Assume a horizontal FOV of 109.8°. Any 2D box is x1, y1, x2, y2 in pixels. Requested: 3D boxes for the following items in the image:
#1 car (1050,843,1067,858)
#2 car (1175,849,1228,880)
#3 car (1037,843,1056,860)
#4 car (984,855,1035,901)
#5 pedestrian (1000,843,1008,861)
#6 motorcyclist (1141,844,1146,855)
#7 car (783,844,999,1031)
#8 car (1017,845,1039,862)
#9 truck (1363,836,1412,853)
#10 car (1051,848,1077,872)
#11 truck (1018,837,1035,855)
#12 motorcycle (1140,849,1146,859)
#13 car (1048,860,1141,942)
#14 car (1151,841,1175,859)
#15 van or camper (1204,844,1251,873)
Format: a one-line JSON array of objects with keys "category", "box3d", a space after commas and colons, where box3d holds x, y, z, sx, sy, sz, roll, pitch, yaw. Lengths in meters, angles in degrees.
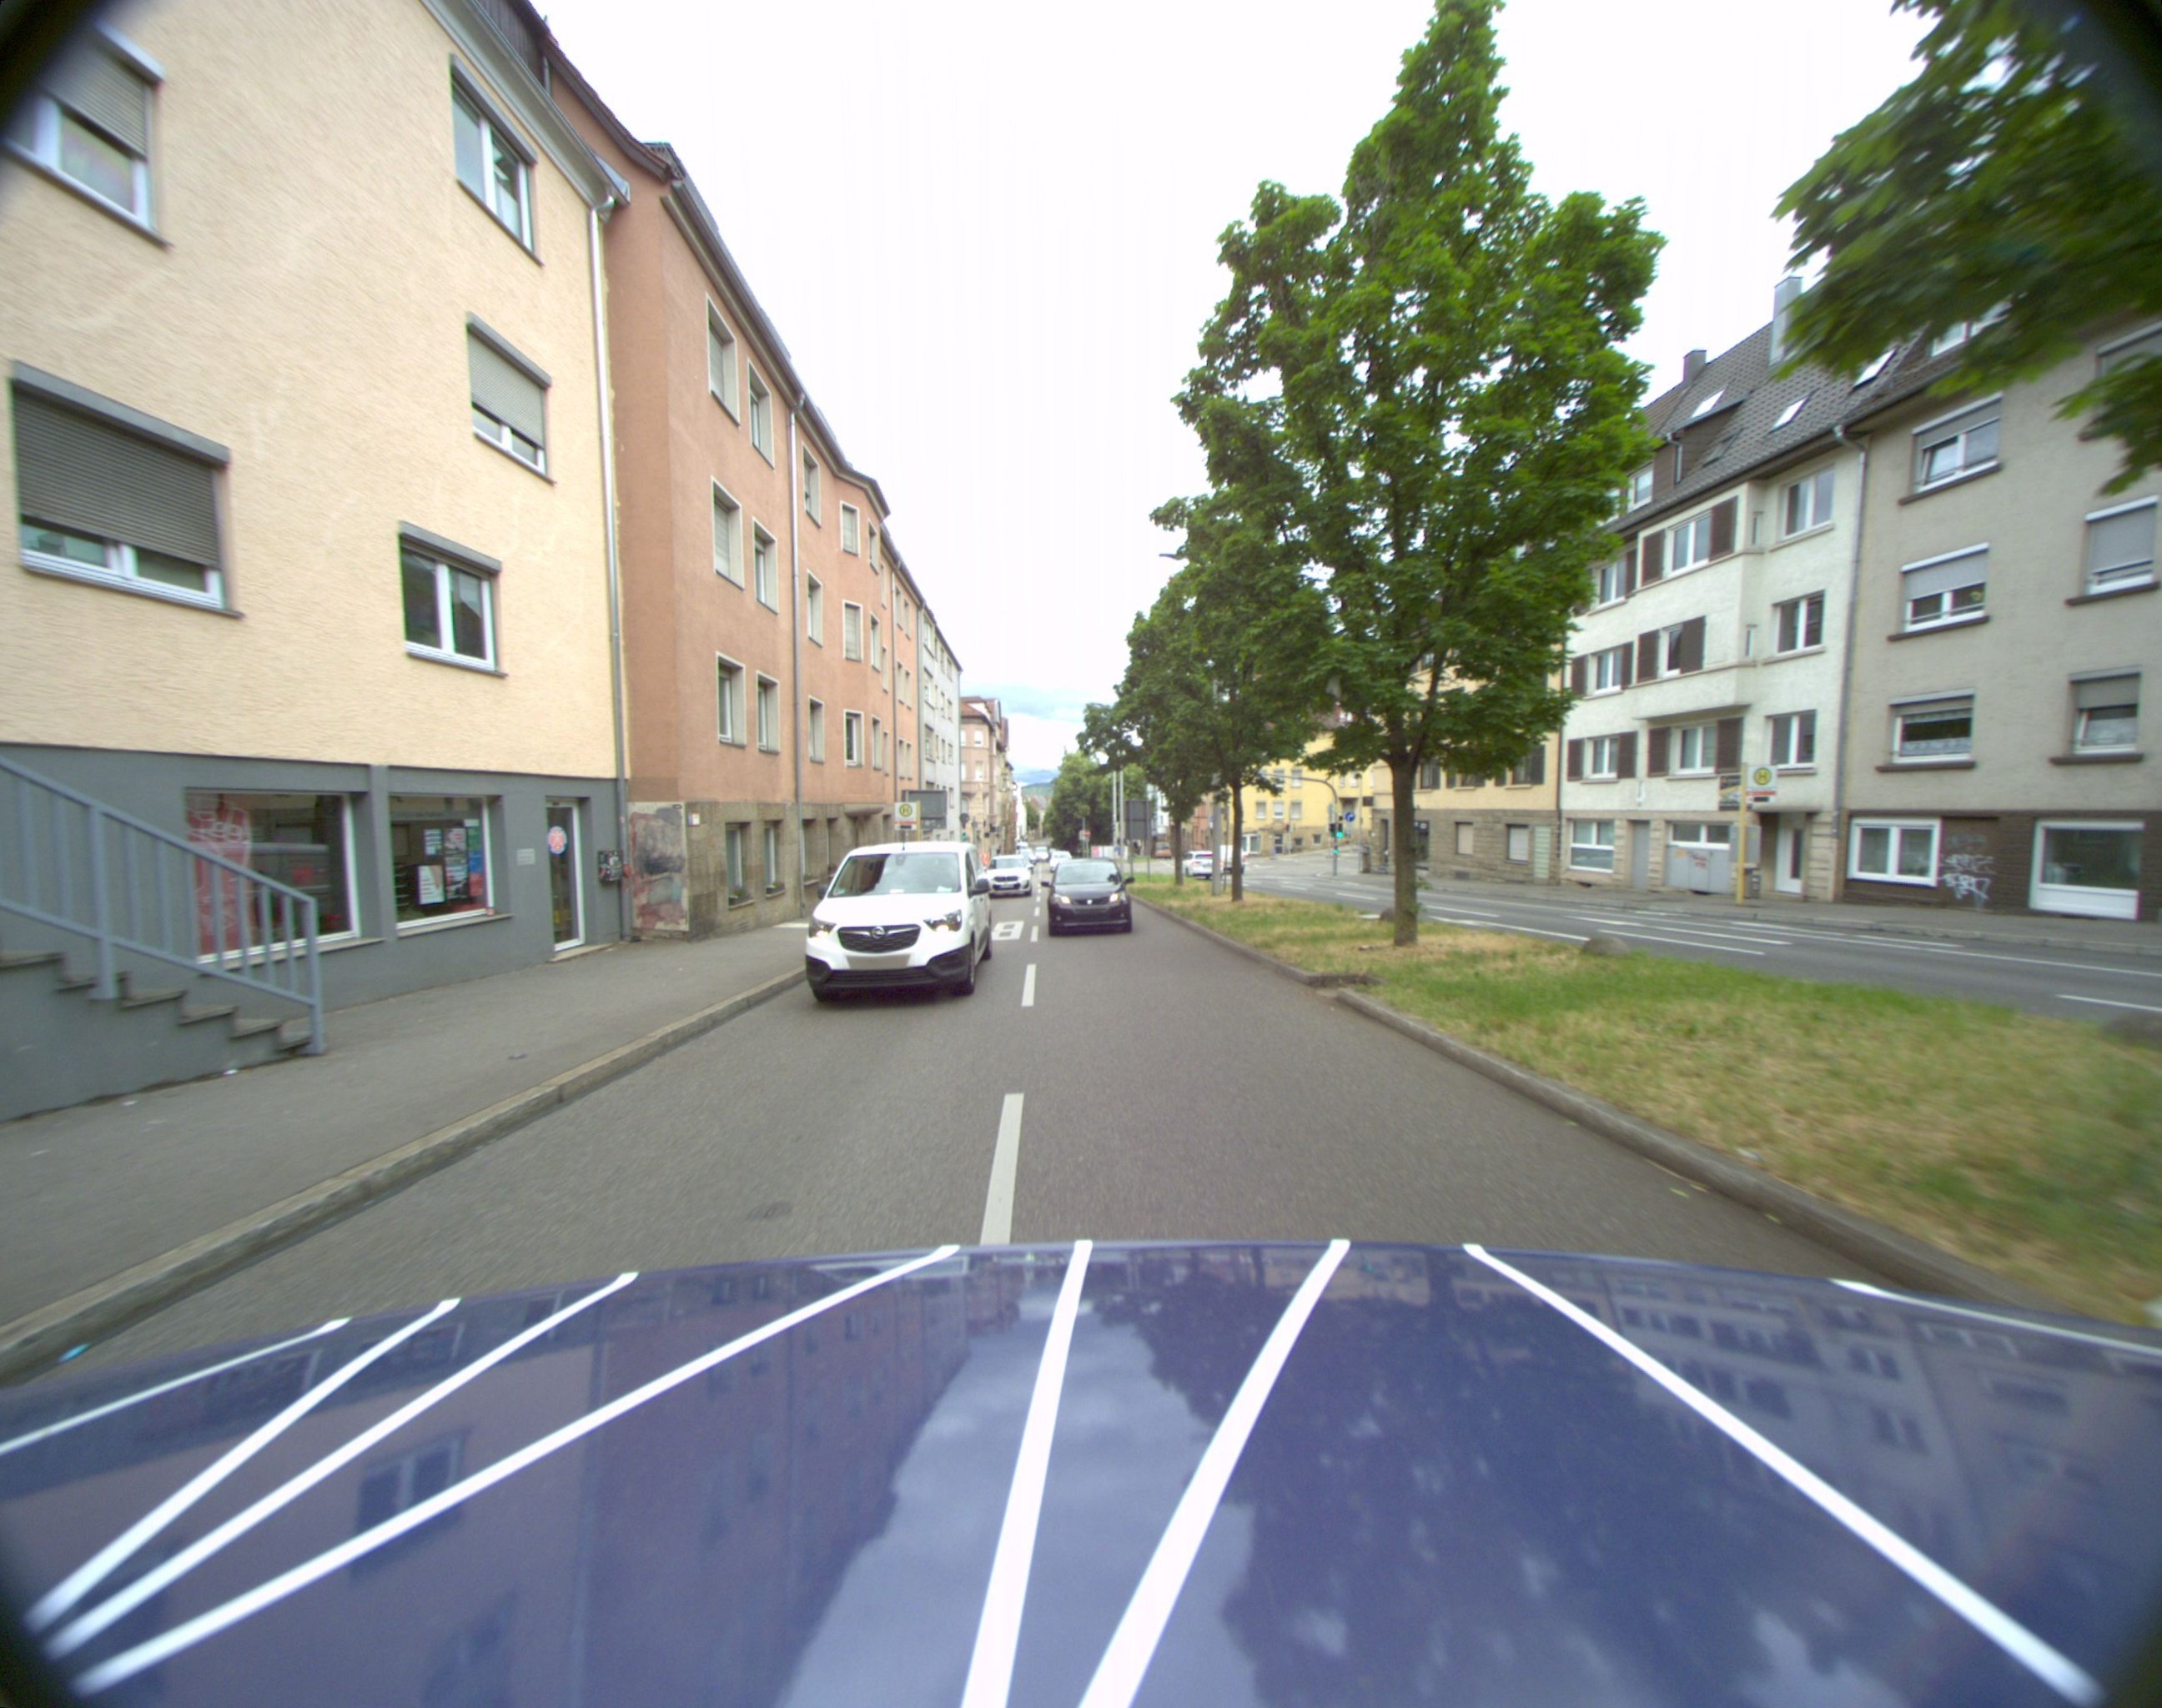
[{"category": "car", "box3d": [-2.773, -0.422, 92.436, 1.785, 1.584, 3.530, 2, 2, -5]}, {"category": "car", "box3d": [6.121, 0.497, 39.156, 1.750, 1.459, 4.583, -1, 1, -3]}, {"category": "car", "box3d": [-3.688, -0.262, 80.765, 1.785, 1.584, 3.530, 2, 2, -5]}, {"category": "car", "box3d": [-2.799, 0.896, 30.584, 1.780, 1.598, 4.162, -3, 1, -3]}, {"category": "pedestrian", "box3d": [-7.415, -0.203, 73.333, 0.735, 1.638, 1.004, -2, 1, -5]}, {"category": "motorcyclist", "box3d": [8.401, -0.567, 102.058, 0.674, 1.467, 0.662, -1, 2, -1]}, {"category": "car", "box3d": [-2.152, 0.805, 10.039, 1.789, 1.779, 4.841, -2, 1, -3]}, {"category": "car", "box3d": [-4.896, -0.058, 70.554, 1.842, 1.477, 3.999, 0, 1, -1]}, {"category": "truck", "box3d": [28.083, -0.865, 69.567, 4.004, 1.410, 1.849, -2, 1, -24]}, {"category": "car", "box3d": [-1.309, 0.404, 57.400, 1.785, 1.584, 3.530, 2, 2, -5]}, {"category": "truck", "box3d": [-9.282, -1.373, 130.351, 2.553, 2.891, 7.774, 0, 1, -1]}, {"category": "motorcycle", "box3d": [8.345, 0.009, 102.086, 0.546, 1.178, 2.204, -1, 2, -1]}, {"category": "car", "box3d": [0.175, 0.893, 15.793, 1.604, 1.448, 3.684, -2, -1, -3]}, {"category": "car", "box3d": [8.752, -0.437, 81.421, 1.884, 1.805, 4.351, -1, -1, -2]}, {"category": "van or camper", "box3d": [9.357, 0.268, 48.919, 1.913, 1.751, 4.653, -1, 1, -2]}]
